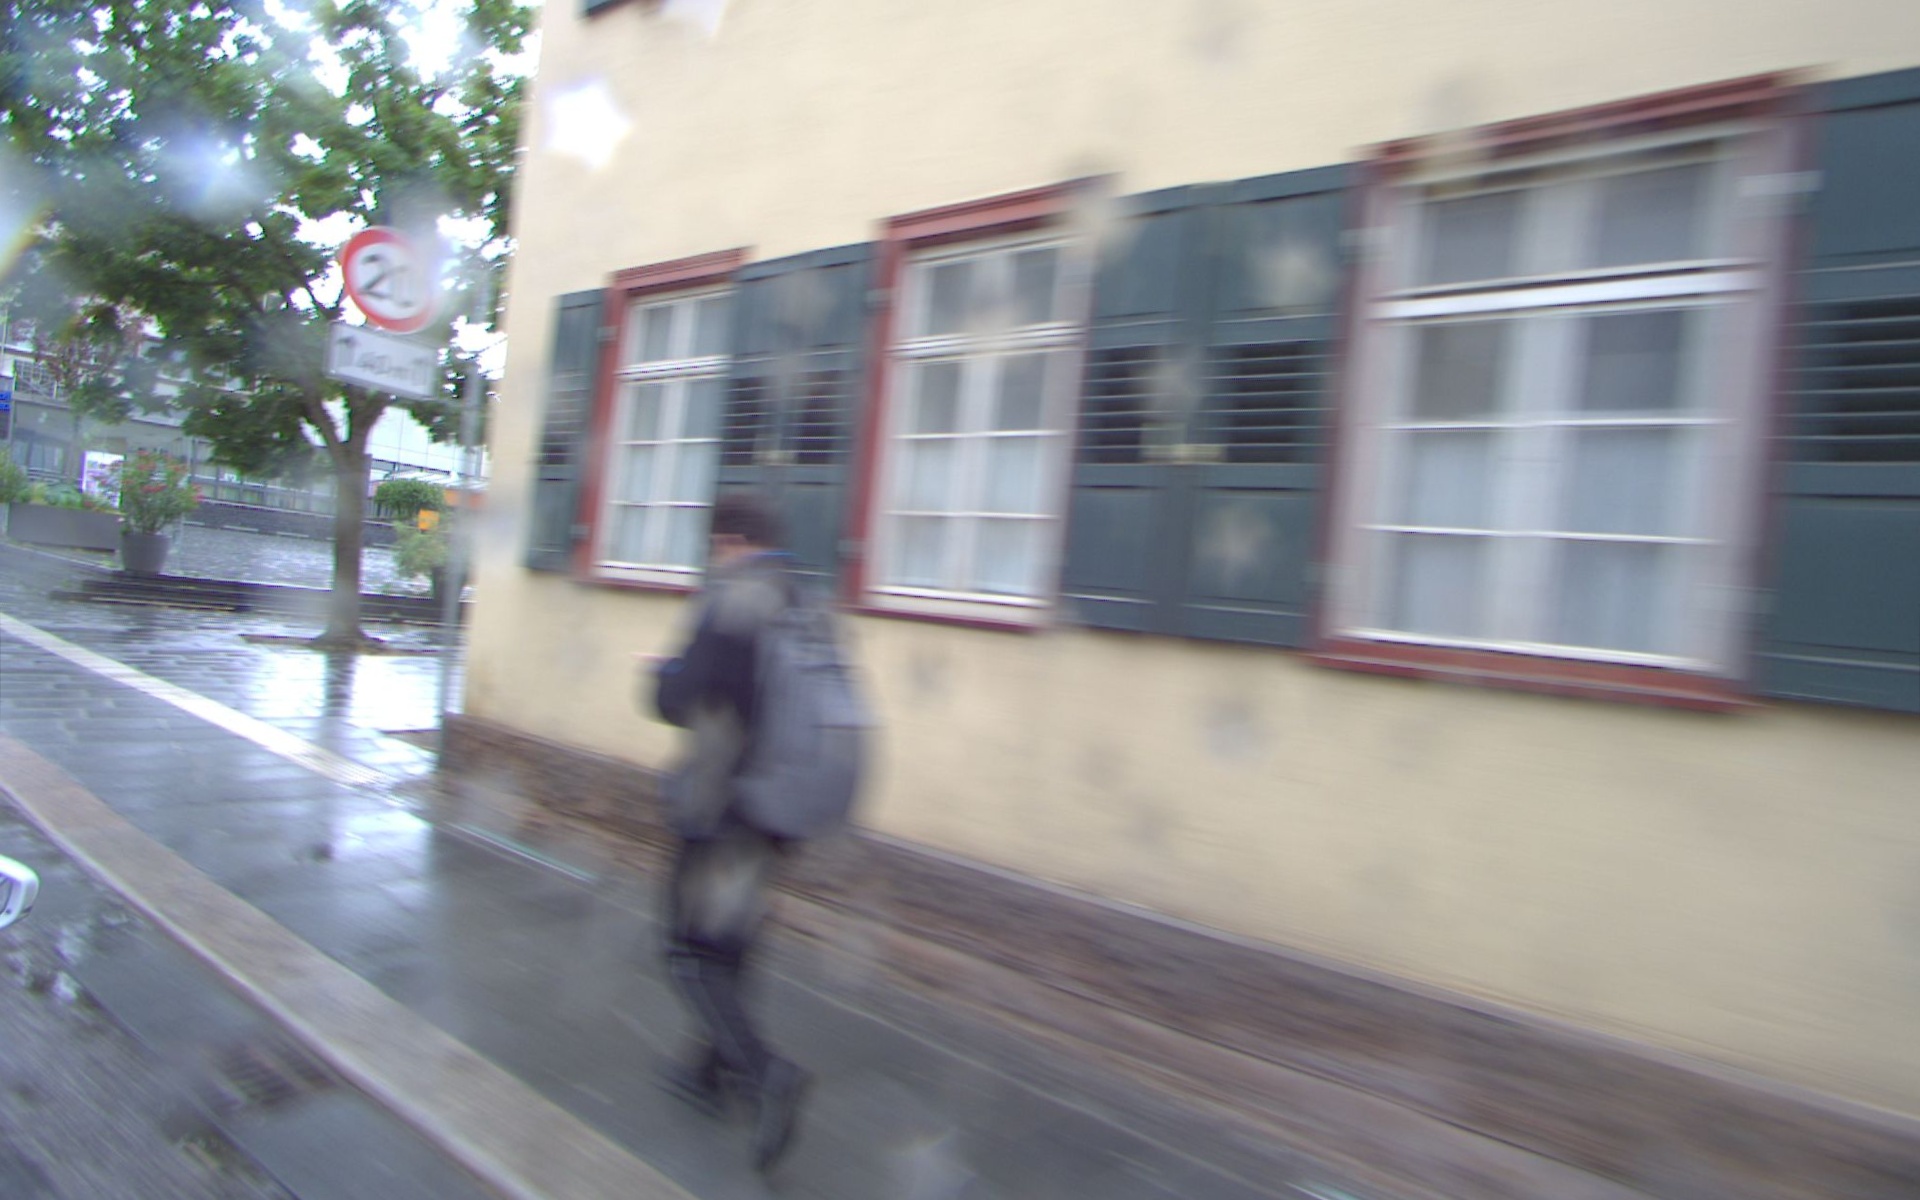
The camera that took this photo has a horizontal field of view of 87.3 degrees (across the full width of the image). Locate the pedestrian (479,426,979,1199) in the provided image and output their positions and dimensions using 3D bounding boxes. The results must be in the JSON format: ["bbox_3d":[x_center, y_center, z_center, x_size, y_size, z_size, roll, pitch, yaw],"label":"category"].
[{"bbox_3d":[-0.600,0.478,2.648,0.854,1.714,0.714,8,2,34],"label":"pedestrian"}]
